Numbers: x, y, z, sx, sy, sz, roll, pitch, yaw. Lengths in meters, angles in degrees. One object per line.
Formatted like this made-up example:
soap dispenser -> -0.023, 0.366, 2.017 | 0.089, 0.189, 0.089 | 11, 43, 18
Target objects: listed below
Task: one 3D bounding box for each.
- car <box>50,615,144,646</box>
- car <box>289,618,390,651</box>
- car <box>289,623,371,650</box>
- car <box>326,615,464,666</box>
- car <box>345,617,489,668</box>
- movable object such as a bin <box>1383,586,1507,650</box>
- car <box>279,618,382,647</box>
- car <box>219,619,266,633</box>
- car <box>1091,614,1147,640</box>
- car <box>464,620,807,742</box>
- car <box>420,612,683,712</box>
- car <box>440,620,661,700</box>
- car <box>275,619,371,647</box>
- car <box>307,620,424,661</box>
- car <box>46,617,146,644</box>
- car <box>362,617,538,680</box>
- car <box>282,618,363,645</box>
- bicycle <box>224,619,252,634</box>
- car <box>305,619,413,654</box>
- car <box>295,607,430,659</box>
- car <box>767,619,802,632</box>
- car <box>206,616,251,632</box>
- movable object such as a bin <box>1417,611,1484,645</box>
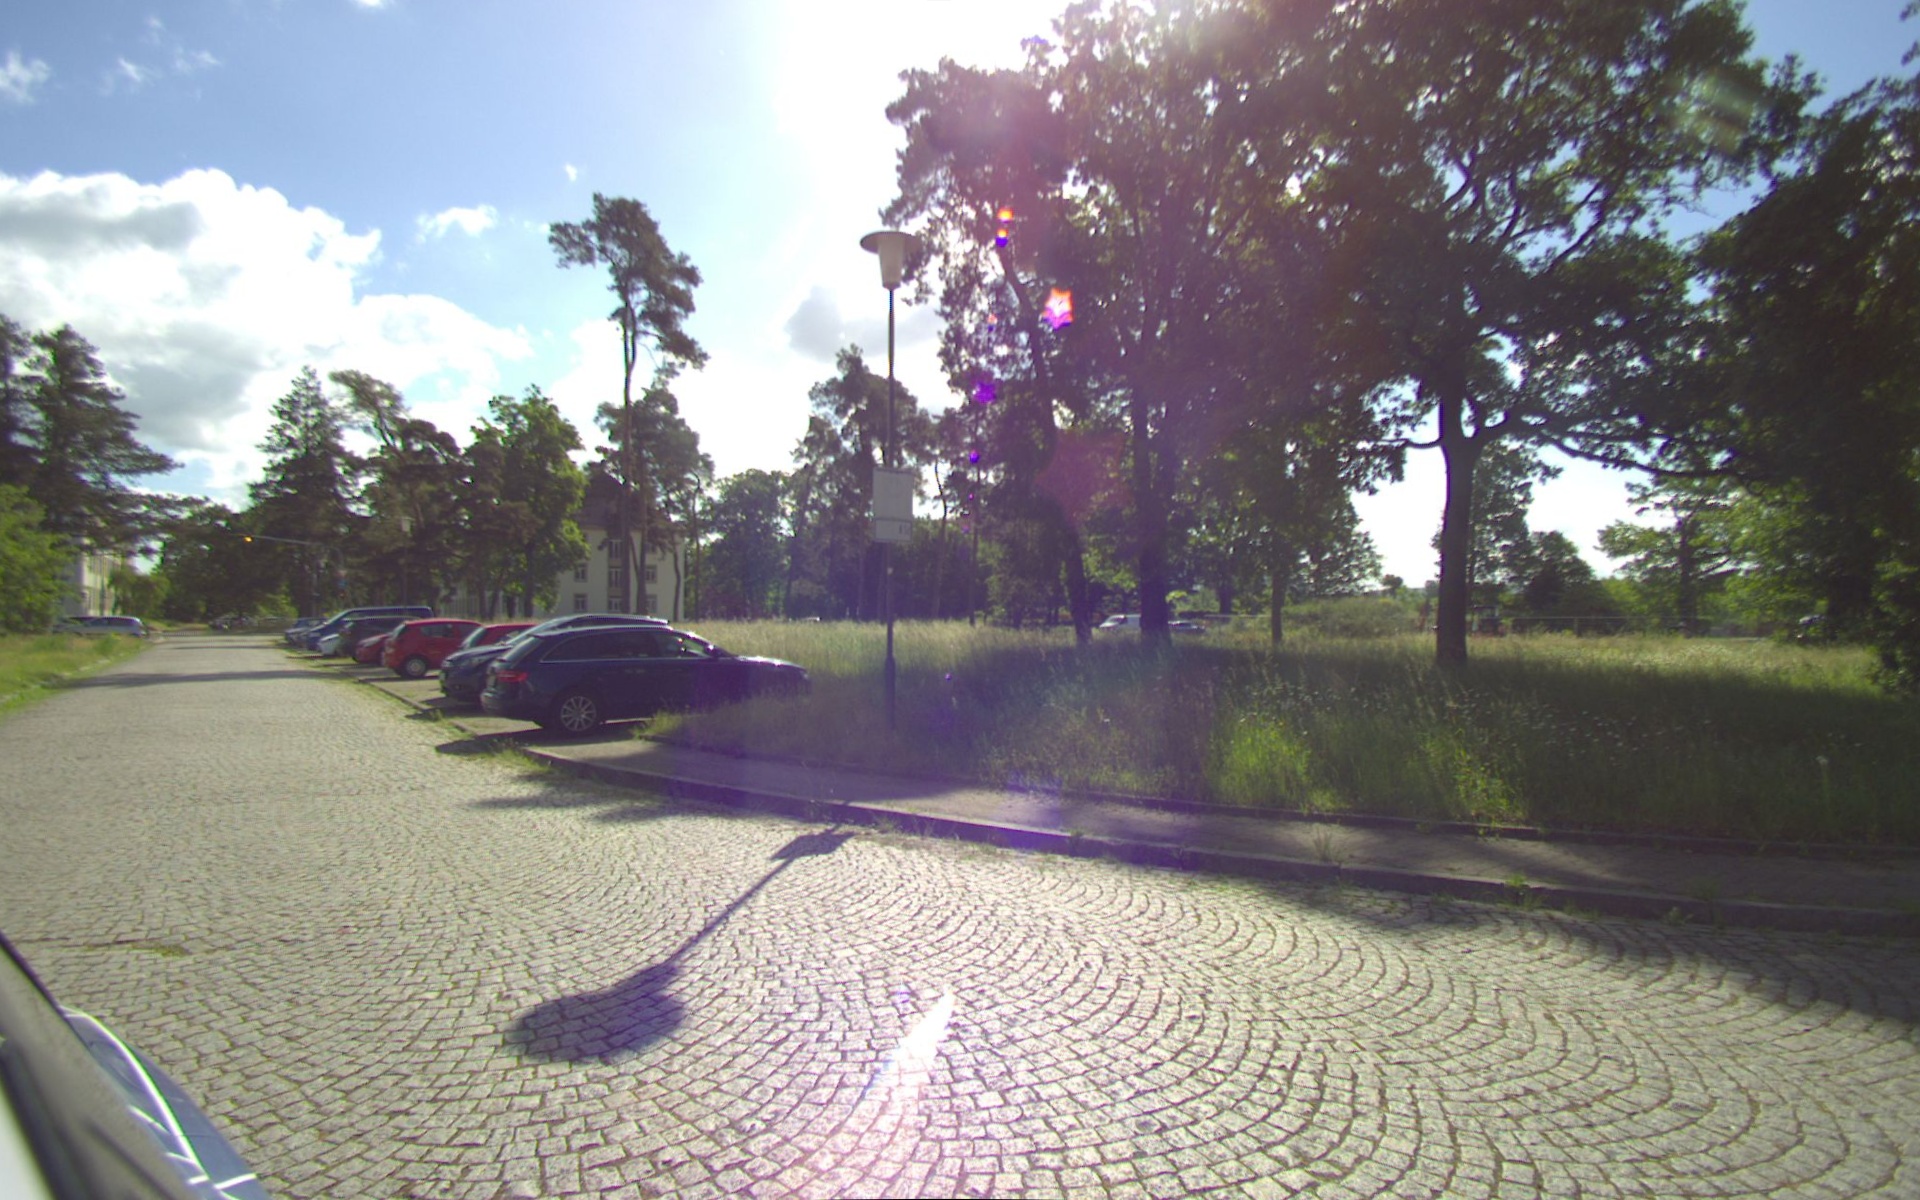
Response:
car -> -46.500, 1.645, 54.638 | 3.692, 1.487, 1.755 | 5, -4, -38
car -> -29.849, 1.616, 48.713 | 4.022, 1.436, 1.927 | -1, -1, -35
car -> -33.118, 1.903, 53.218 | 3.582, 1.243, 1.764 | -1, 0, -35
car -> -19.512, 1.370, 35.026 | 3.902, 1.579, 1.978 | -1, -1, -38
car -> -17.658, 1.356, 32.992 | 3.873, 1.460, 1.870 | -1, -1, -38
movable object such as a bin -> 30.142, 1.103, 62.901 | 6.764, 3.759, 3.891 | 0, -1, 30
car -> -35.524, 1.805, 57.128 | 4.800, 1.431, 1.943 | -1, 0, -36
car -> -78.819, 2.885, 111.195 | 3.985, 1.534, 1.819 | 2, -2, -45
car -> 13.674, 2.283, 86.802 | 4.781, 2.180, 1.962 | 1, -2, -35
car -> -4.570, 1.038, 14.445 | 4.300, 1.456, 1.926 | 0, -1, -34
car -> -7.342, 1.036, 18.338 | 4.081, 1.591, 1.888 | 0, -1, -37
car -> -8.301, 1.151, 20.614 | 3.871, 1.444, 1.846 | 0, -1, -35
car -> -37.302, 1.884, 59.318 | 4.523, 1.463, 1.988 | -1, 0, -40
car -> -23.469, 1.566, 39.993 | 3.767, 1.451, 1.686 | -1, 0, -39
car -> -51.716, 1.829, 60.720 | 4.455, 1.476, 1.842 | 4, -3, -39
car -> -13.400, 1.221, 26.668 | 3.872, 1.472, 1.846 | 0, -1, -38
car -> -38.730, 1.900, 61.527 | 3.975, 1.494, 1.953 | -1, -1, -38
bicycle -> -70.520, 2.565, 98.815 | 2.082, 1.293, 0.622 | -6, 3, -39
car -> -27.709, 1.657, 46.702 | 4.141, 1.486, 1.828 | -1, -1, -37
car -> -24.853, 1.318, 42.167 | 4.656, 1.983, 2.010 | -1, 0, -37
car -> -21.965, 3.203, 126.670 | 4.040, 1.593, 1.724 | 1, -2, -35
car -> -89.997, 2.985, 124.530 | 1.818, 1.928, 4.166 | -1, -2, 43
movable object such as a bin -> 32.817, 1.878, 67.915 | 2.500, 2.142, 5.663 | 0, -1, 9
